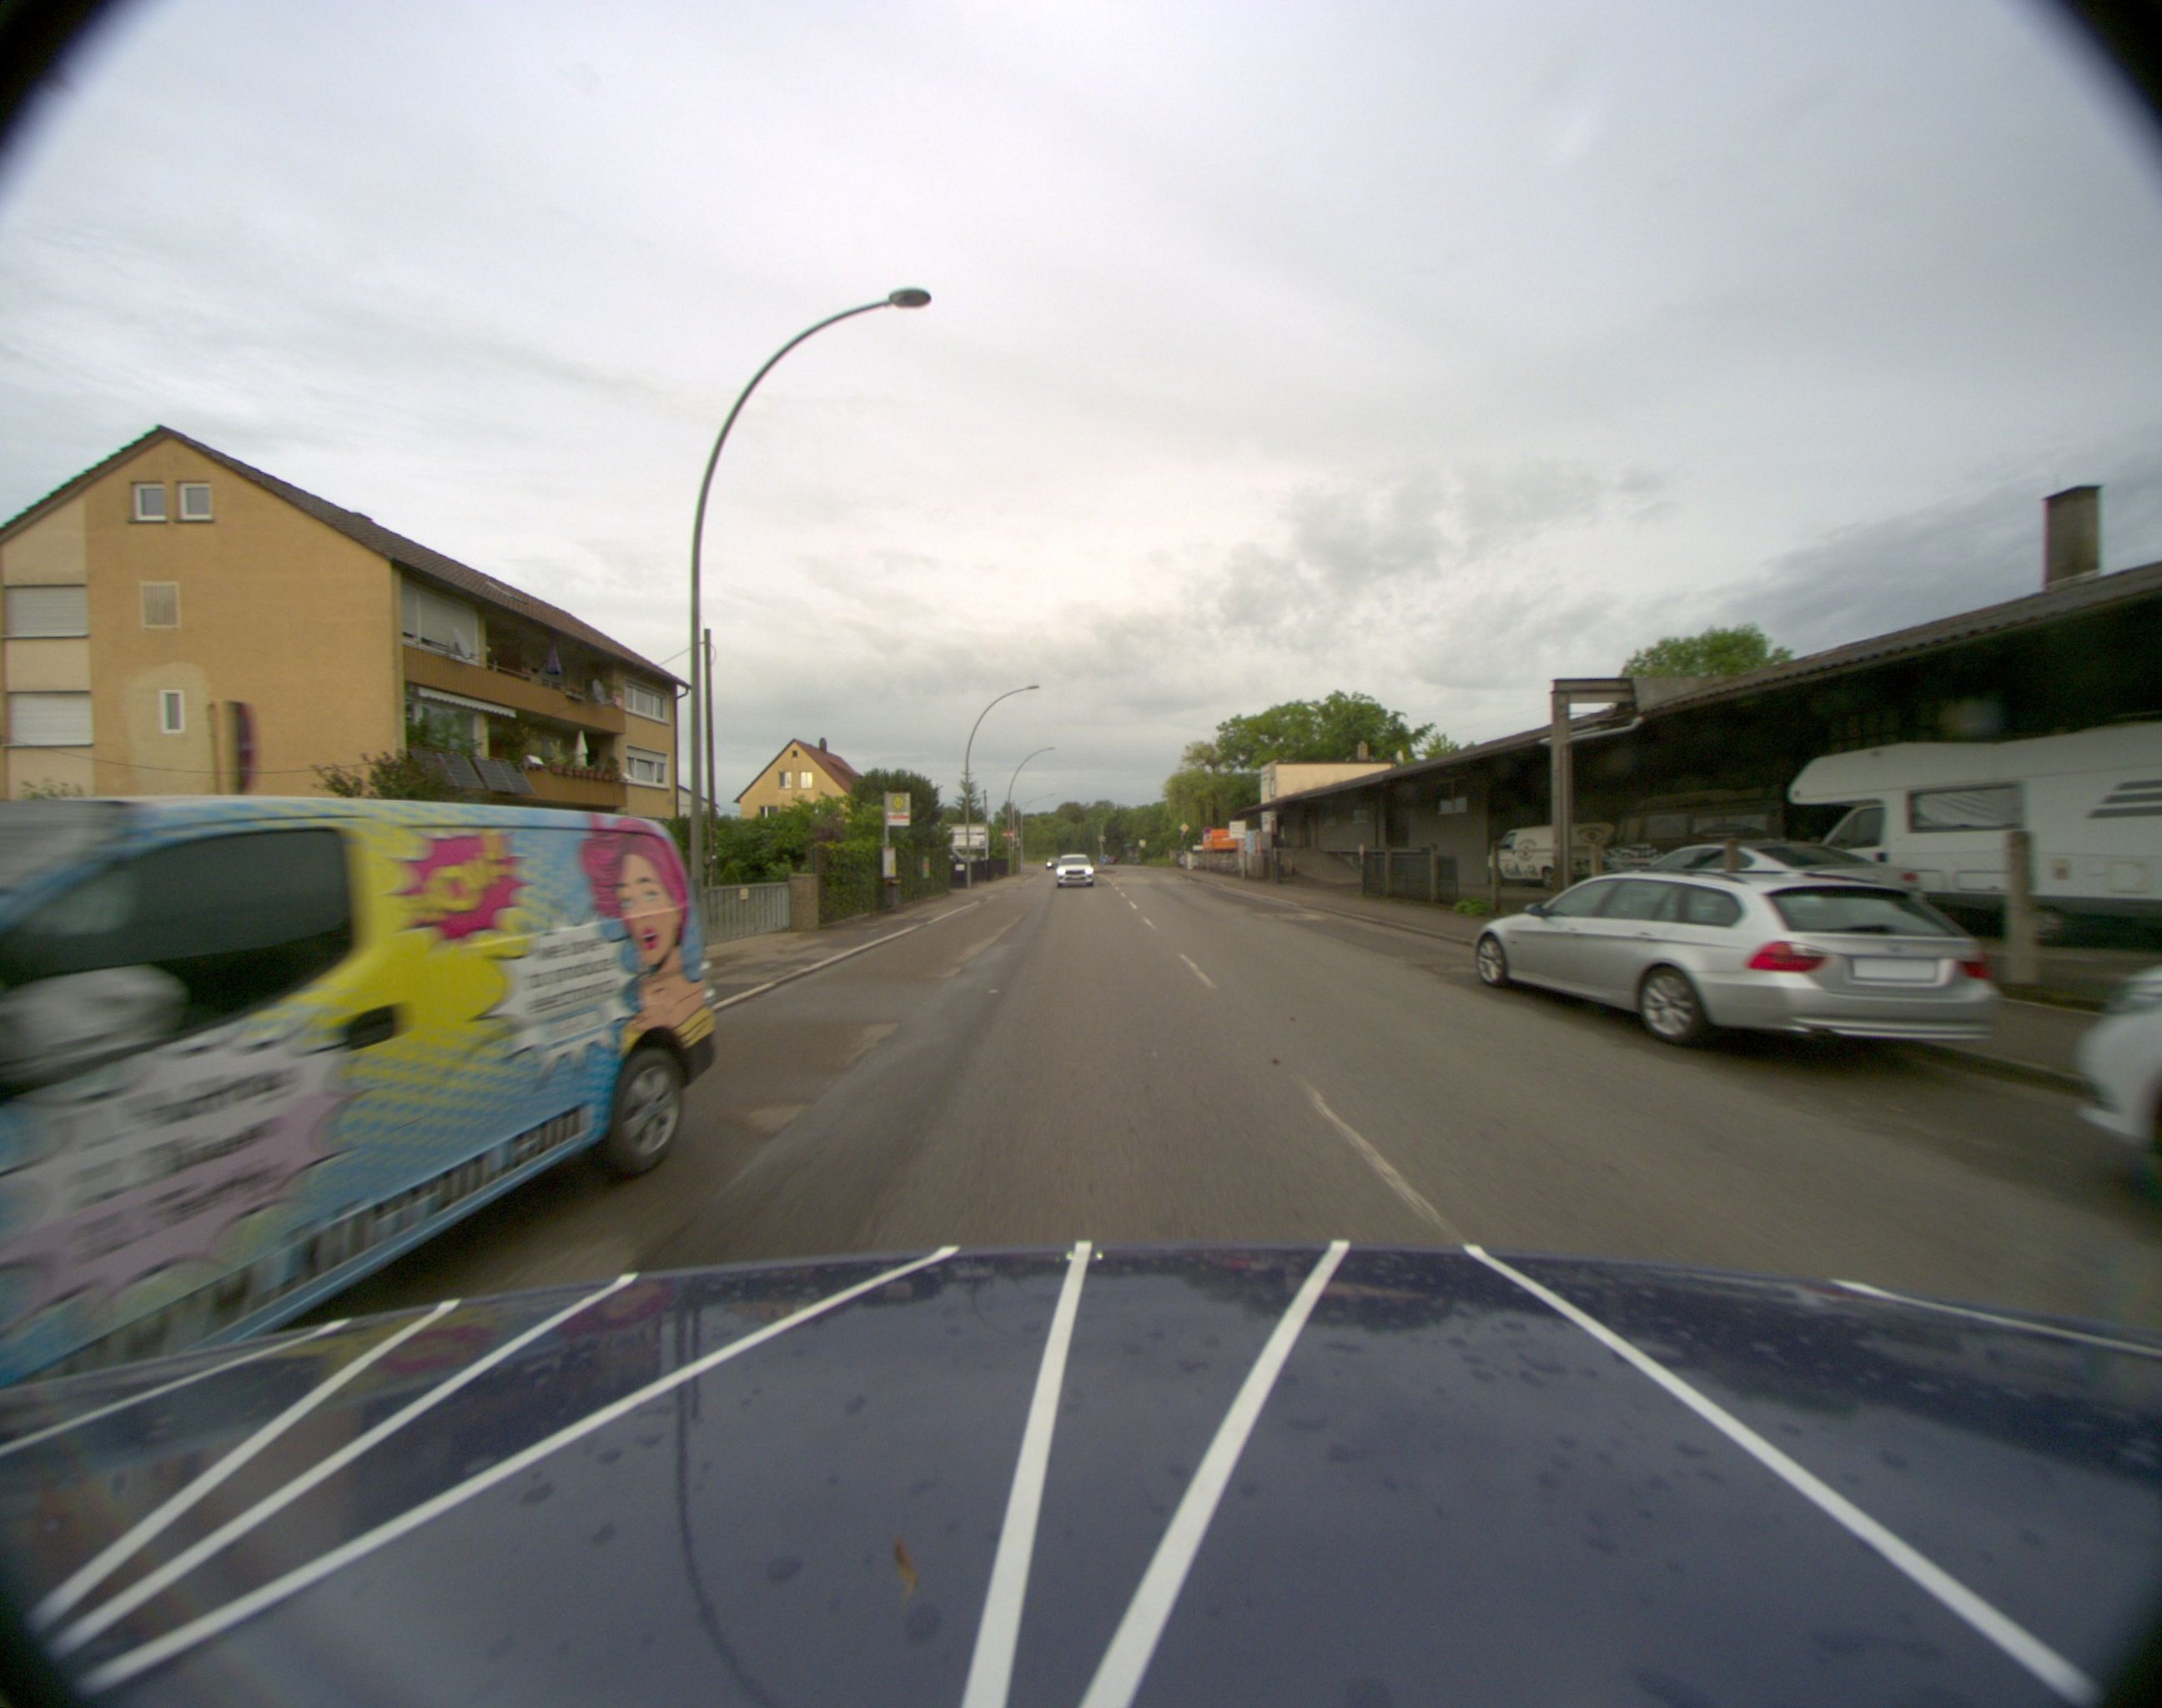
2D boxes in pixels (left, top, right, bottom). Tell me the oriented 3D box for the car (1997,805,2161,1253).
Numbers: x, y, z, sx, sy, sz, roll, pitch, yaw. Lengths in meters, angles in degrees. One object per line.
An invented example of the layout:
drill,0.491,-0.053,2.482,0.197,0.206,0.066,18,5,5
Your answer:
car,5.442,0.754,1.135,1.898,1.881,5.210,0,0,1

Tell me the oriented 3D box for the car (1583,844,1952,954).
car,10.942,0.595,12.742,1.833,1.432,4.788,-2,0,0

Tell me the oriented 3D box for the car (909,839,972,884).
car,-8.676,0.459,47.127,3.457,2.597,1.949,-2,1,-1

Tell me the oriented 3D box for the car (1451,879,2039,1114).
car,5.528,1.020,7.379,1.642,1.357,4.707,0,0,1

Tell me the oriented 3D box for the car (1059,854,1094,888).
car,-0.254,0.847,39.946,1.692,1.651,3.999,-2,1,-1

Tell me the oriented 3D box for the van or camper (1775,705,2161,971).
van or camper,13.419,-0.231,10.320,2.309,3.018,6.150,-2,1,0

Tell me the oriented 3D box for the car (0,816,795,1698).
car,-3.091,0.866,2.743,1.736,1.817,5.553,-3,0,2

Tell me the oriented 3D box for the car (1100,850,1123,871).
car,2.590,0.529,65.095,1.898,1.678,4.231,0,0,1

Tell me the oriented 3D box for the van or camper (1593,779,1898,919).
van or camper,13.850,-0.112,16.430,1.998,2.476,5.197,-2,1,0

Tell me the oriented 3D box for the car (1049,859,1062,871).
car,-3.134,1.374,93.587,1.564,1.332,3.129,-2,1,-1

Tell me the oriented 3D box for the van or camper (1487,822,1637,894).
van or camper,14.520,0.088,23.282,1.926,1.924,4.374,-2,1,3
